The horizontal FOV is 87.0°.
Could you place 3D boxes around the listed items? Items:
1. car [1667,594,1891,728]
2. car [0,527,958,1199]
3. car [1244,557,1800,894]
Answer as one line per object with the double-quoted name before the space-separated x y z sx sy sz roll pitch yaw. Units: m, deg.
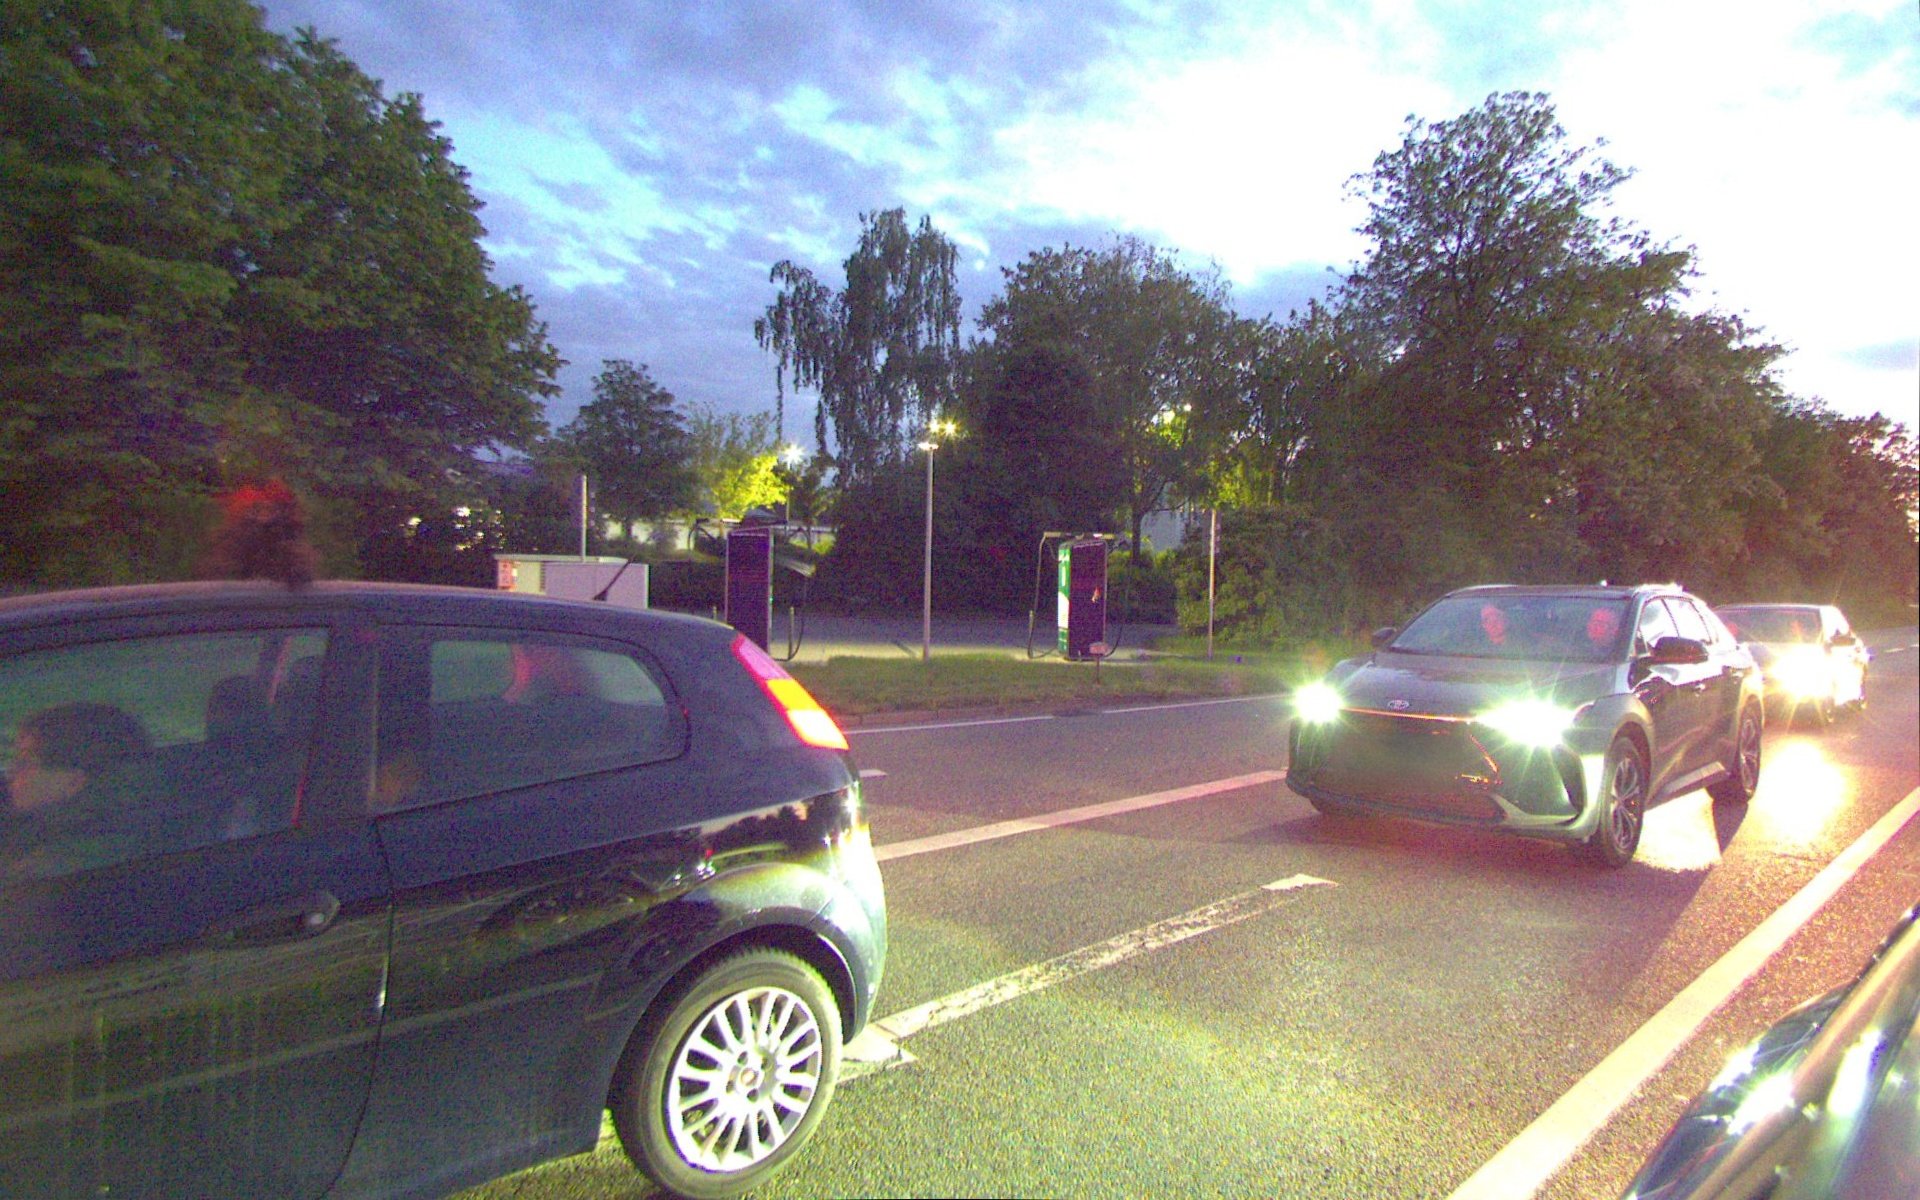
"car" 10.676 0.675 13.105 3.803 1.487 1.622 0 0 -41
"car" -2.088 0.645 2.157 4.032 1.540 1.674 0 1 -39
"car" 4.194 0.598 7.179 4.629 1.630 1.997 0 0 -41
